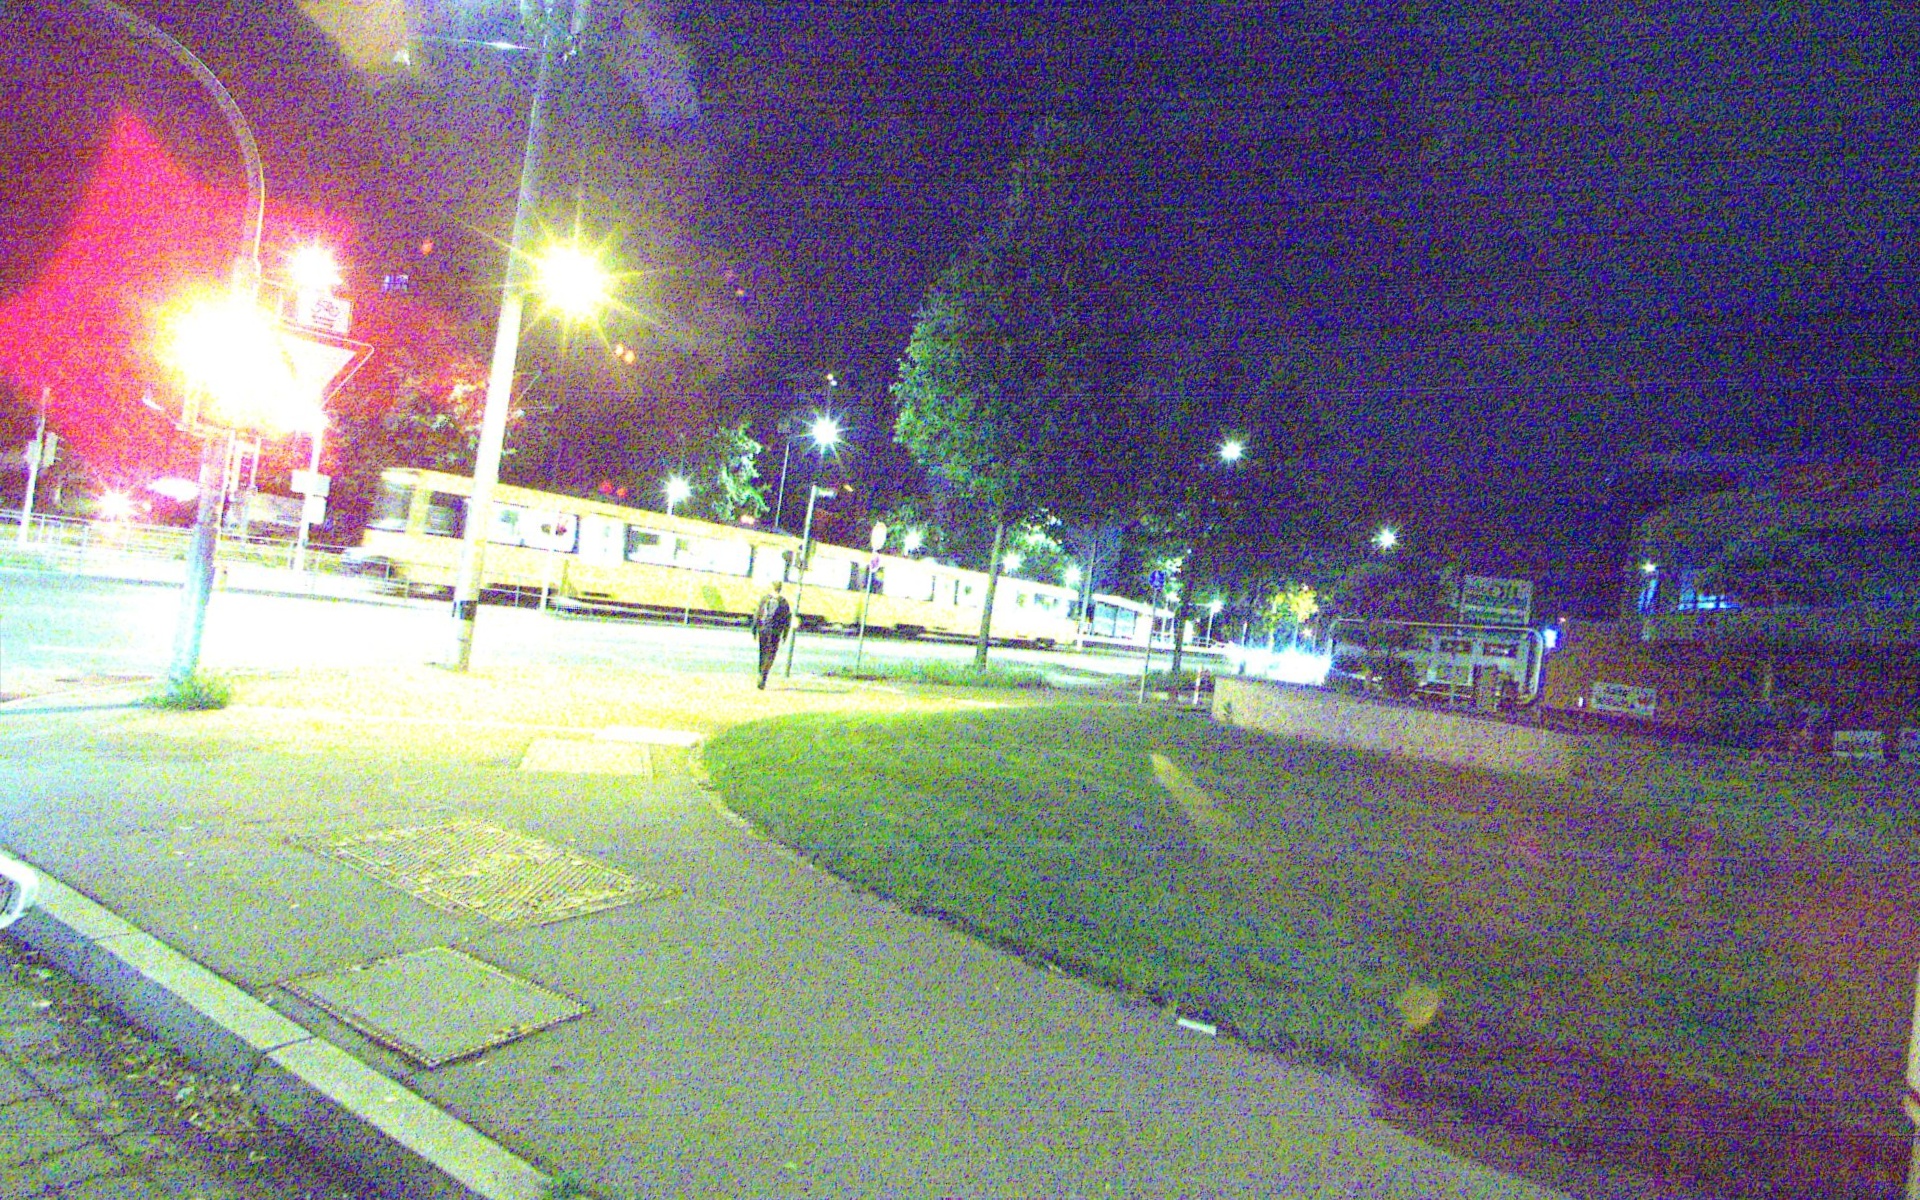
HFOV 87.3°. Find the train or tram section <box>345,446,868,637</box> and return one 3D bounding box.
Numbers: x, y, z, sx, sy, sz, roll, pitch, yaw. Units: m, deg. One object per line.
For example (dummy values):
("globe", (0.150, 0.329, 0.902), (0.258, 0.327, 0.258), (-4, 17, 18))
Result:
("train or tram section", (-10.460, -1.391, 34.685), (2.918, 3.896, 18.428), (9, 0, 35))

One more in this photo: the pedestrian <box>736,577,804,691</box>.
("pedestrian", (-2.946, 0.515, 15.538), (0.867, 1.677, 0.835), (3, 1, -18))

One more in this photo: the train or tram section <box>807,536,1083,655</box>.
("train or tram section", (0.177, 0.168, 49.995), (2.919, 3.894, 18.866), (6, -2, 35))
